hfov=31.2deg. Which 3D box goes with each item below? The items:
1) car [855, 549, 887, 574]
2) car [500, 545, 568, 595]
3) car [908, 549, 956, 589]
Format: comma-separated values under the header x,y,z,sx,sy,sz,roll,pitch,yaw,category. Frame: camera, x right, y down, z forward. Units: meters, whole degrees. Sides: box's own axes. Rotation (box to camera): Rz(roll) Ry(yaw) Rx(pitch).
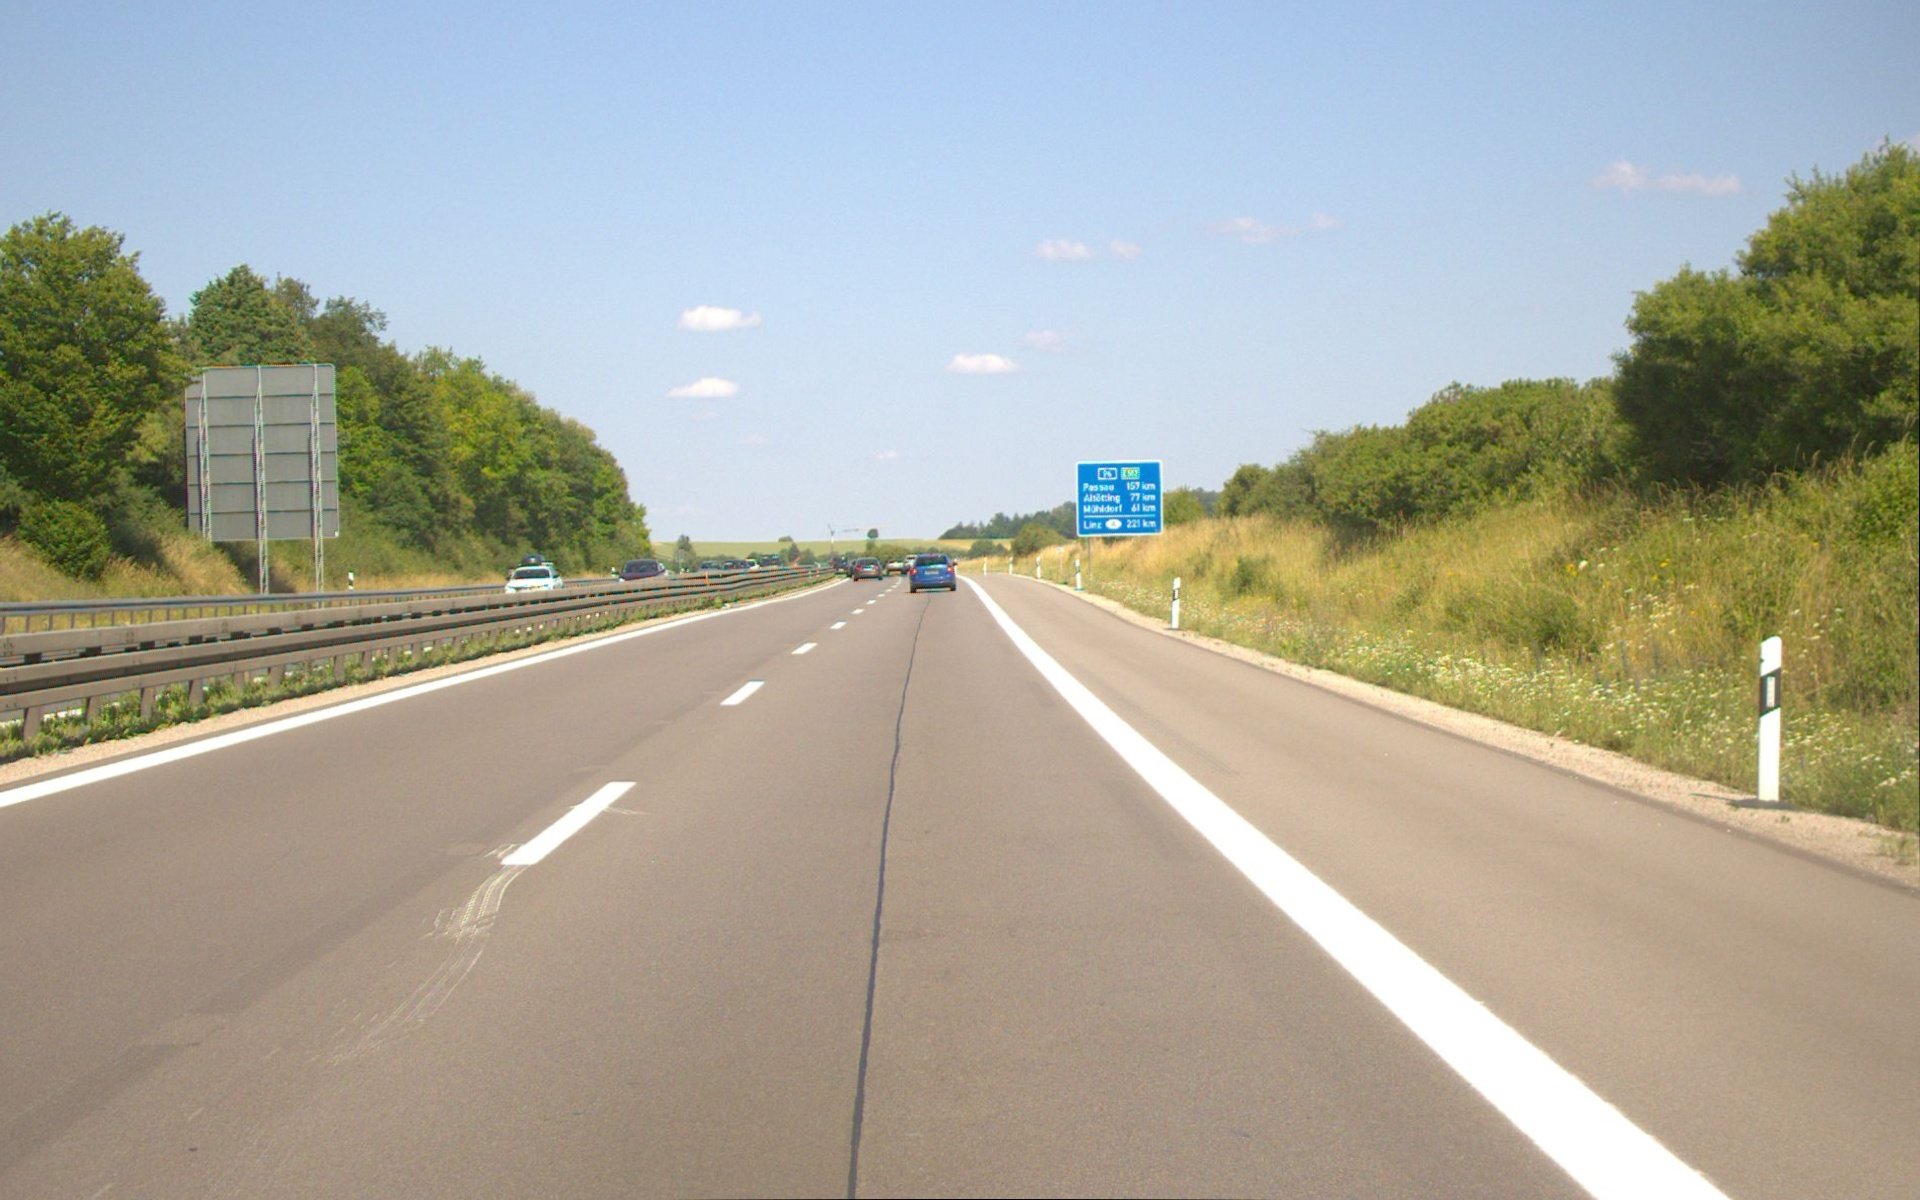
x,y,z,sx,sy,sz,roll,pitch,yaw,category
-5.543,-2.380,214.576,1.829,1.448,3.592,-3,0,0,car
-16.207,-1.146,131.073,1.945,1.839,5.184,-1,1,0,car
-1.049,-1.173,130.763,1.676,1.448,3.592,-3,0,1,car
